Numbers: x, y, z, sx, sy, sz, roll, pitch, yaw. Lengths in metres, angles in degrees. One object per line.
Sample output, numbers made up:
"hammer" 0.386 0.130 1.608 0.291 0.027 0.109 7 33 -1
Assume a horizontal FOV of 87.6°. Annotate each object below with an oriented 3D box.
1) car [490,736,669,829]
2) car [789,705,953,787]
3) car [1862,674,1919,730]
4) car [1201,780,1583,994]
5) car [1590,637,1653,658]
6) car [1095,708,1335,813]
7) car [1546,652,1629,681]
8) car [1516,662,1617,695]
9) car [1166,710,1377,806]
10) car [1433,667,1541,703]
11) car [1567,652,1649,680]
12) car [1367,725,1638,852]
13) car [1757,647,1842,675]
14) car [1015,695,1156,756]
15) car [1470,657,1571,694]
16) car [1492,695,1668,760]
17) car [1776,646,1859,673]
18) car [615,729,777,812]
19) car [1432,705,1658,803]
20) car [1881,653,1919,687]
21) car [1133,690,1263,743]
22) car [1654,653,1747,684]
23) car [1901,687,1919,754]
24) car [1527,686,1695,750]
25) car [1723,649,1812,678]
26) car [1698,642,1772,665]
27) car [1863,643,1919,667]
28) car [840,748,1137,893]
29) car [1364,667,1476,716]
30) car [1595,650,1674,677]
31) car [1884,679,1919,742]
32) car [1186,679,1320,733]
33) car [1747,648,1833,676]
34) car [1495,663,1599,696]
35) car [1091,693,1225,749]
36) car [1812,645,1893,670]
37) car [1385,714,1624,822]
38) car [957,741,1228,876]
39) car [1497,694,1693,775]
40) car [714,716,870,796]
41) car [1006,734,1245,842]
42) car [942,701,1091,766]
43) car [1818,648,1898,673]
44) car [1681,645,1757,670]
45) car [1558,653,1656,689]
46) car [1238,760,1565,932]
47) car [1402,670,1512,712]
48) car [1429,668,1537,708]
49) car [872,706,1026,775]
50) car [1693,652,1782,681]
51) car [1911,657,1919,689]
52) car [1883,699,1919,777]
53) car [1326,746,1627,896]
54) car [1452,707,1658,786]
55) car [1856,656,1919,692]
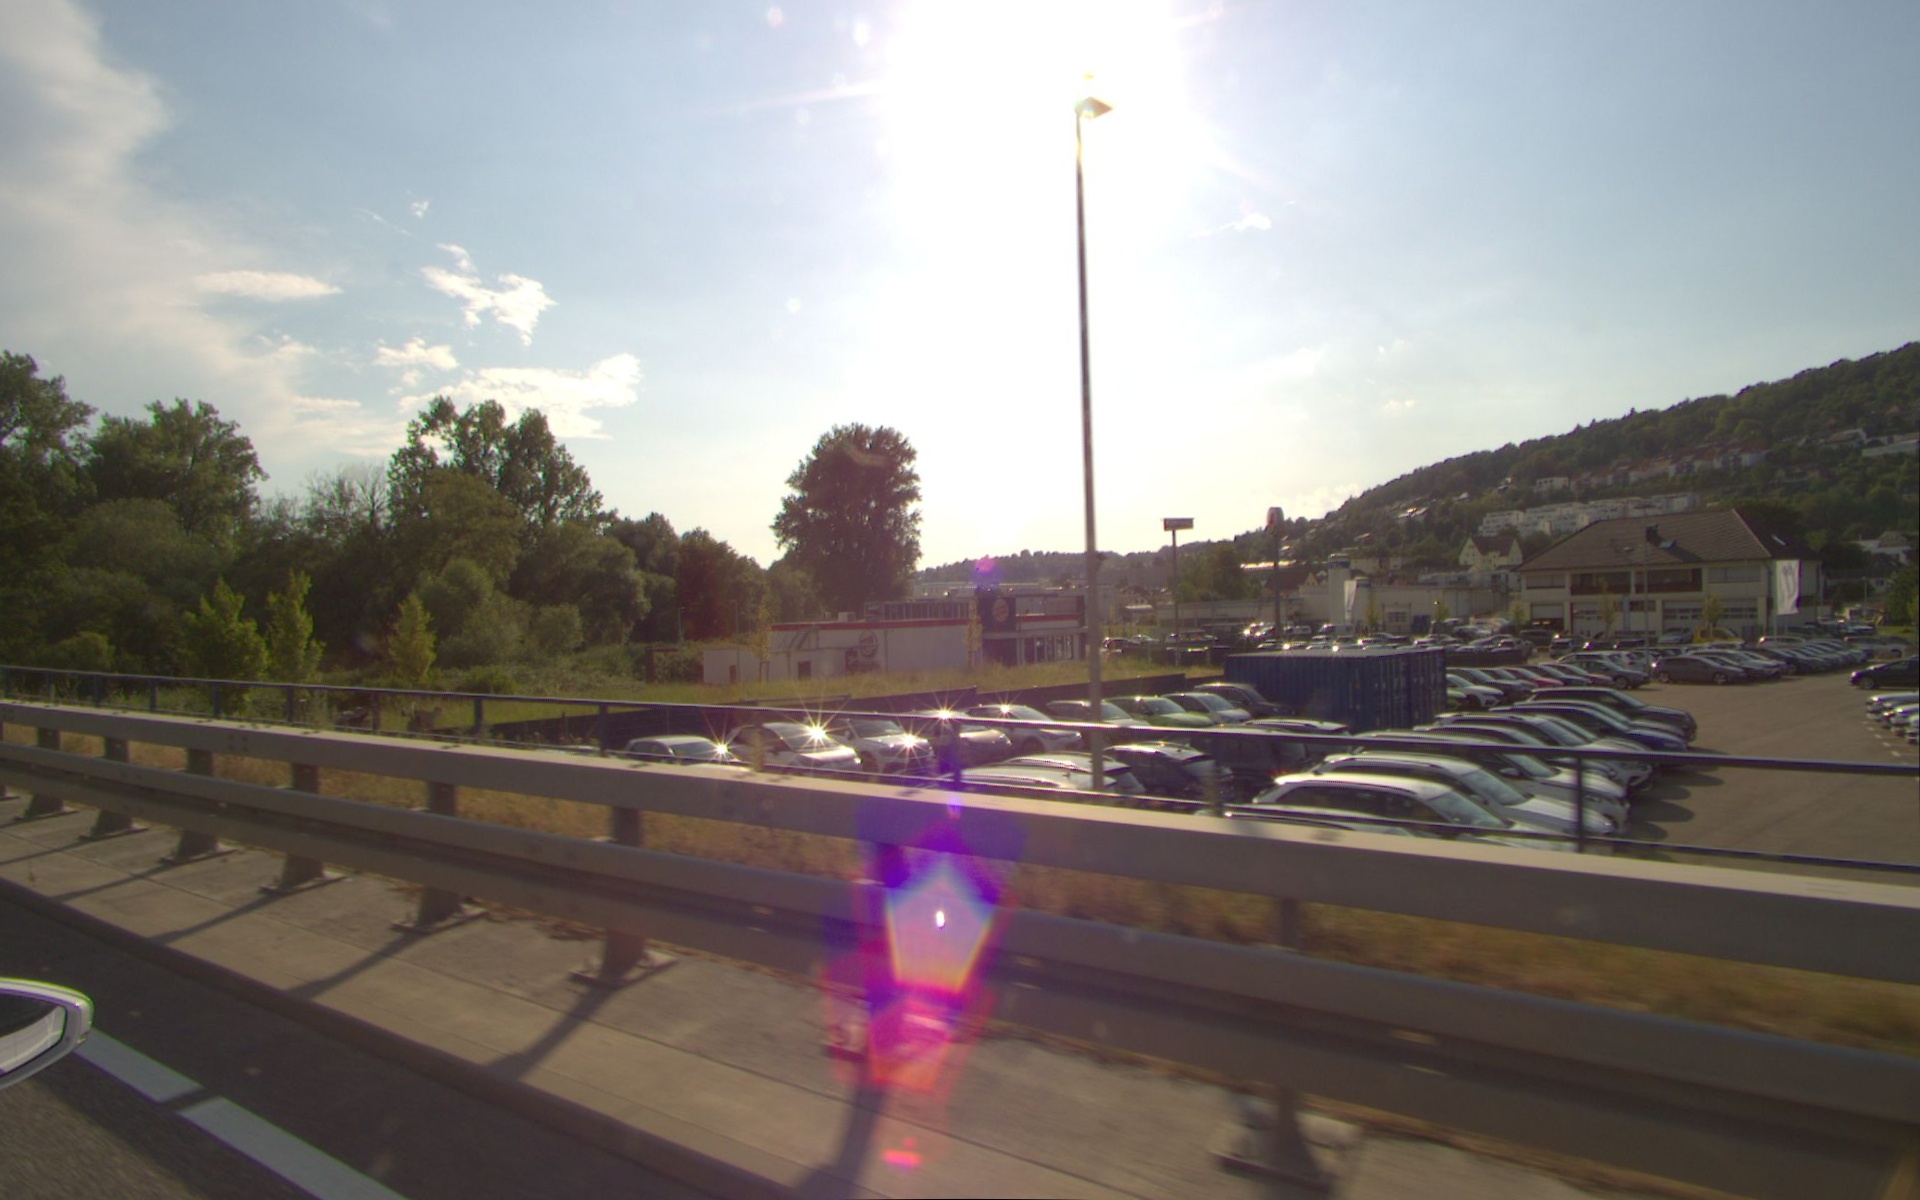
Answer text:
"car" -8.049 3.747 21.047 3.950 1.482 1.700 -3 -3 37
"car" -2.352 3.653 25.650 4.202 1.662 1.942 -3 -3 45
"car" 31.099 3.139 30.885 4.671 1.656 1.873 -3 -3 37
"car" 5.102 3.237 11.988 3.945 1.705 1.771 -2 -3 33
"car" 51.505 3.687 78.046 1.732 1.597 3.753 1 -3 -37
"car" 4.980 3.082 19.873 4.300 1.643 1.700 -3 -3 37
"car" 36.718 3.883 58.661 1.732 1.597 3.753 1 -3 -37
"car" 29.874 3.847 49.401 1.694 1.482 3.965 1 -3 -42
"car" 6.759 3.363 21.977 3.961 1.663 1.942 -3 -3 45
"car" 23.849 3.802 45.424 1.694 1.482 3.965 1 -3 -42
"car" 38.717 3.907 59.915 1.732 1.597 3.753 1 -3 -37
"car" 9.457 3.192 17.579 3.950 1.705 1.769 -3 -3 37
"car" 51.321 3.718 61.269 1.734 1.597 3.749 1 -3 -41
"car" 3.735 3.724 30.177 3.960 1.521 1.796 -3 -3 44
"car" 26.174 3.495 46.841 1.734 1.597 3.749 1 -3 -41
"car" 16.932 3.431 27.406 3.950 1.482 1.700 -3 -3 37
"car" 53.552 3.697 62.577 1.734 1.597 3.749 1 -3 -41
"car" -6.008 3.746 22.542 1.807 1.371 3.962 1 -3 -44
"car" 12.404 3.188 21.329 3.950 1.705 1.769 -3 -3 37
"car" 47.220 3.367 48.366 1.731 1.597 3.756 1 -3 -35
"car" 7.858 3.827 33.318 1.694 1.482 3.965 1 -3 -42
"car" 40.151 3.710 54.367 1.734 1.597 3.749 1 -3 -41
"car" 27.308 3.126 25.462 4.671 1.656 1.873 -3 -3 37
"car" 18.790 3.348 28.972 3.950 1.623 1.700 -3 -3 37
"car" 46.790 3.687 58.060 1.734 1.597 3.749 1 -3 -41
"car" 54.369 3.760 70.294 1.732 1.597 3.753 1 -3 -37
"car" 64.765 3.781 68.903 1.734 1.597 3.749 1 -3 -41
"car" 0.354 3.031 14.376 3.944 1.482 1.703 -2 -3 33
"car" 18.681 3.684 40.759 1.734 1.816 3.749 1 -3 -41
"car" 42.337 3.982 62.891 1.732 1.597 3.753 1 -3 -37
"car" 28.586 3.039 27.360 4.671 1.656 1.873 -3 -3 37
"car" 10.021 3.595 34.417 3.961 1.614 1.942 -3 -3 45
"car" 49.754 3.708 60.054 1.734 1.597 3.749 1 -3 -41
"car" 28.136 3.791 48.074 1.694 1.482 3.965 1 -3 -42
"car" 6.237 3.800 31.858 1.694 1.482 3.965 1 -3 -42
"car" 57.972 3.732 65.068 1.734 1.597 3.749 1 -3 -41
"car" 10.774 3.246 19.920 3.950 1.705 1.769 -3 -3 37
"car" 2.057 3.199 15.967 3.947 1.583 1.702 -3 -3 35
"car" 15.647 3.248 24.752 3.950 1.705 1.769 -3 -3 37
"car" -4.143 3.700 24.280 1.807 1.518 3.962 1 -3 -44
"car" 2.968 3.322 18.225 3.947 1.482 1.702 -3 -3 35
"car" 1.557 3.730 28.526 3.961 1.482 1.942 -3 -3 45
"car" 59.675 4.019 66.576 1.734 1.597 3.749 1 -3 -41
"car" 51.026 3.843 67.365 1.732 1.597 3.753 1 -3 -37
"car" 33.760 3.701 52.269 3.960 1.772 1.982 -3 -3 44
"car" 6.129 3.291 14.041 3.945 1.705 1.771 -2 -3 33
"car" 20.661 3.756 41.733 1.734 1.597 3.749 1 -3 -41
"car" 22.504 3.749 43.141 1.734 1.597 3.749 1 -3 -41
"car" -0.357 3.716 27.036 3.961 1.482 1.942 -3 -3 45
"car" 44.158 3.758 56.912 1.734 1.597 3.749 1 -3 -41
"car" 50.323 3.644 50.070 1.731 1.597 3.756 1 -3 -35
"car" 23.746 3.102 22.112 4.667 1.656 1.875 -3 -3 35
"car" 8.011 3.319 15.663 3.948 1.705 1.770 -3 -3 36
"car" 13.806 3.340 23.315 3.950 1.482 1.700 -3 -3 37
"car" 44.500 3.445 46.701 1.731 1.597 3.756 1 -3 -35
